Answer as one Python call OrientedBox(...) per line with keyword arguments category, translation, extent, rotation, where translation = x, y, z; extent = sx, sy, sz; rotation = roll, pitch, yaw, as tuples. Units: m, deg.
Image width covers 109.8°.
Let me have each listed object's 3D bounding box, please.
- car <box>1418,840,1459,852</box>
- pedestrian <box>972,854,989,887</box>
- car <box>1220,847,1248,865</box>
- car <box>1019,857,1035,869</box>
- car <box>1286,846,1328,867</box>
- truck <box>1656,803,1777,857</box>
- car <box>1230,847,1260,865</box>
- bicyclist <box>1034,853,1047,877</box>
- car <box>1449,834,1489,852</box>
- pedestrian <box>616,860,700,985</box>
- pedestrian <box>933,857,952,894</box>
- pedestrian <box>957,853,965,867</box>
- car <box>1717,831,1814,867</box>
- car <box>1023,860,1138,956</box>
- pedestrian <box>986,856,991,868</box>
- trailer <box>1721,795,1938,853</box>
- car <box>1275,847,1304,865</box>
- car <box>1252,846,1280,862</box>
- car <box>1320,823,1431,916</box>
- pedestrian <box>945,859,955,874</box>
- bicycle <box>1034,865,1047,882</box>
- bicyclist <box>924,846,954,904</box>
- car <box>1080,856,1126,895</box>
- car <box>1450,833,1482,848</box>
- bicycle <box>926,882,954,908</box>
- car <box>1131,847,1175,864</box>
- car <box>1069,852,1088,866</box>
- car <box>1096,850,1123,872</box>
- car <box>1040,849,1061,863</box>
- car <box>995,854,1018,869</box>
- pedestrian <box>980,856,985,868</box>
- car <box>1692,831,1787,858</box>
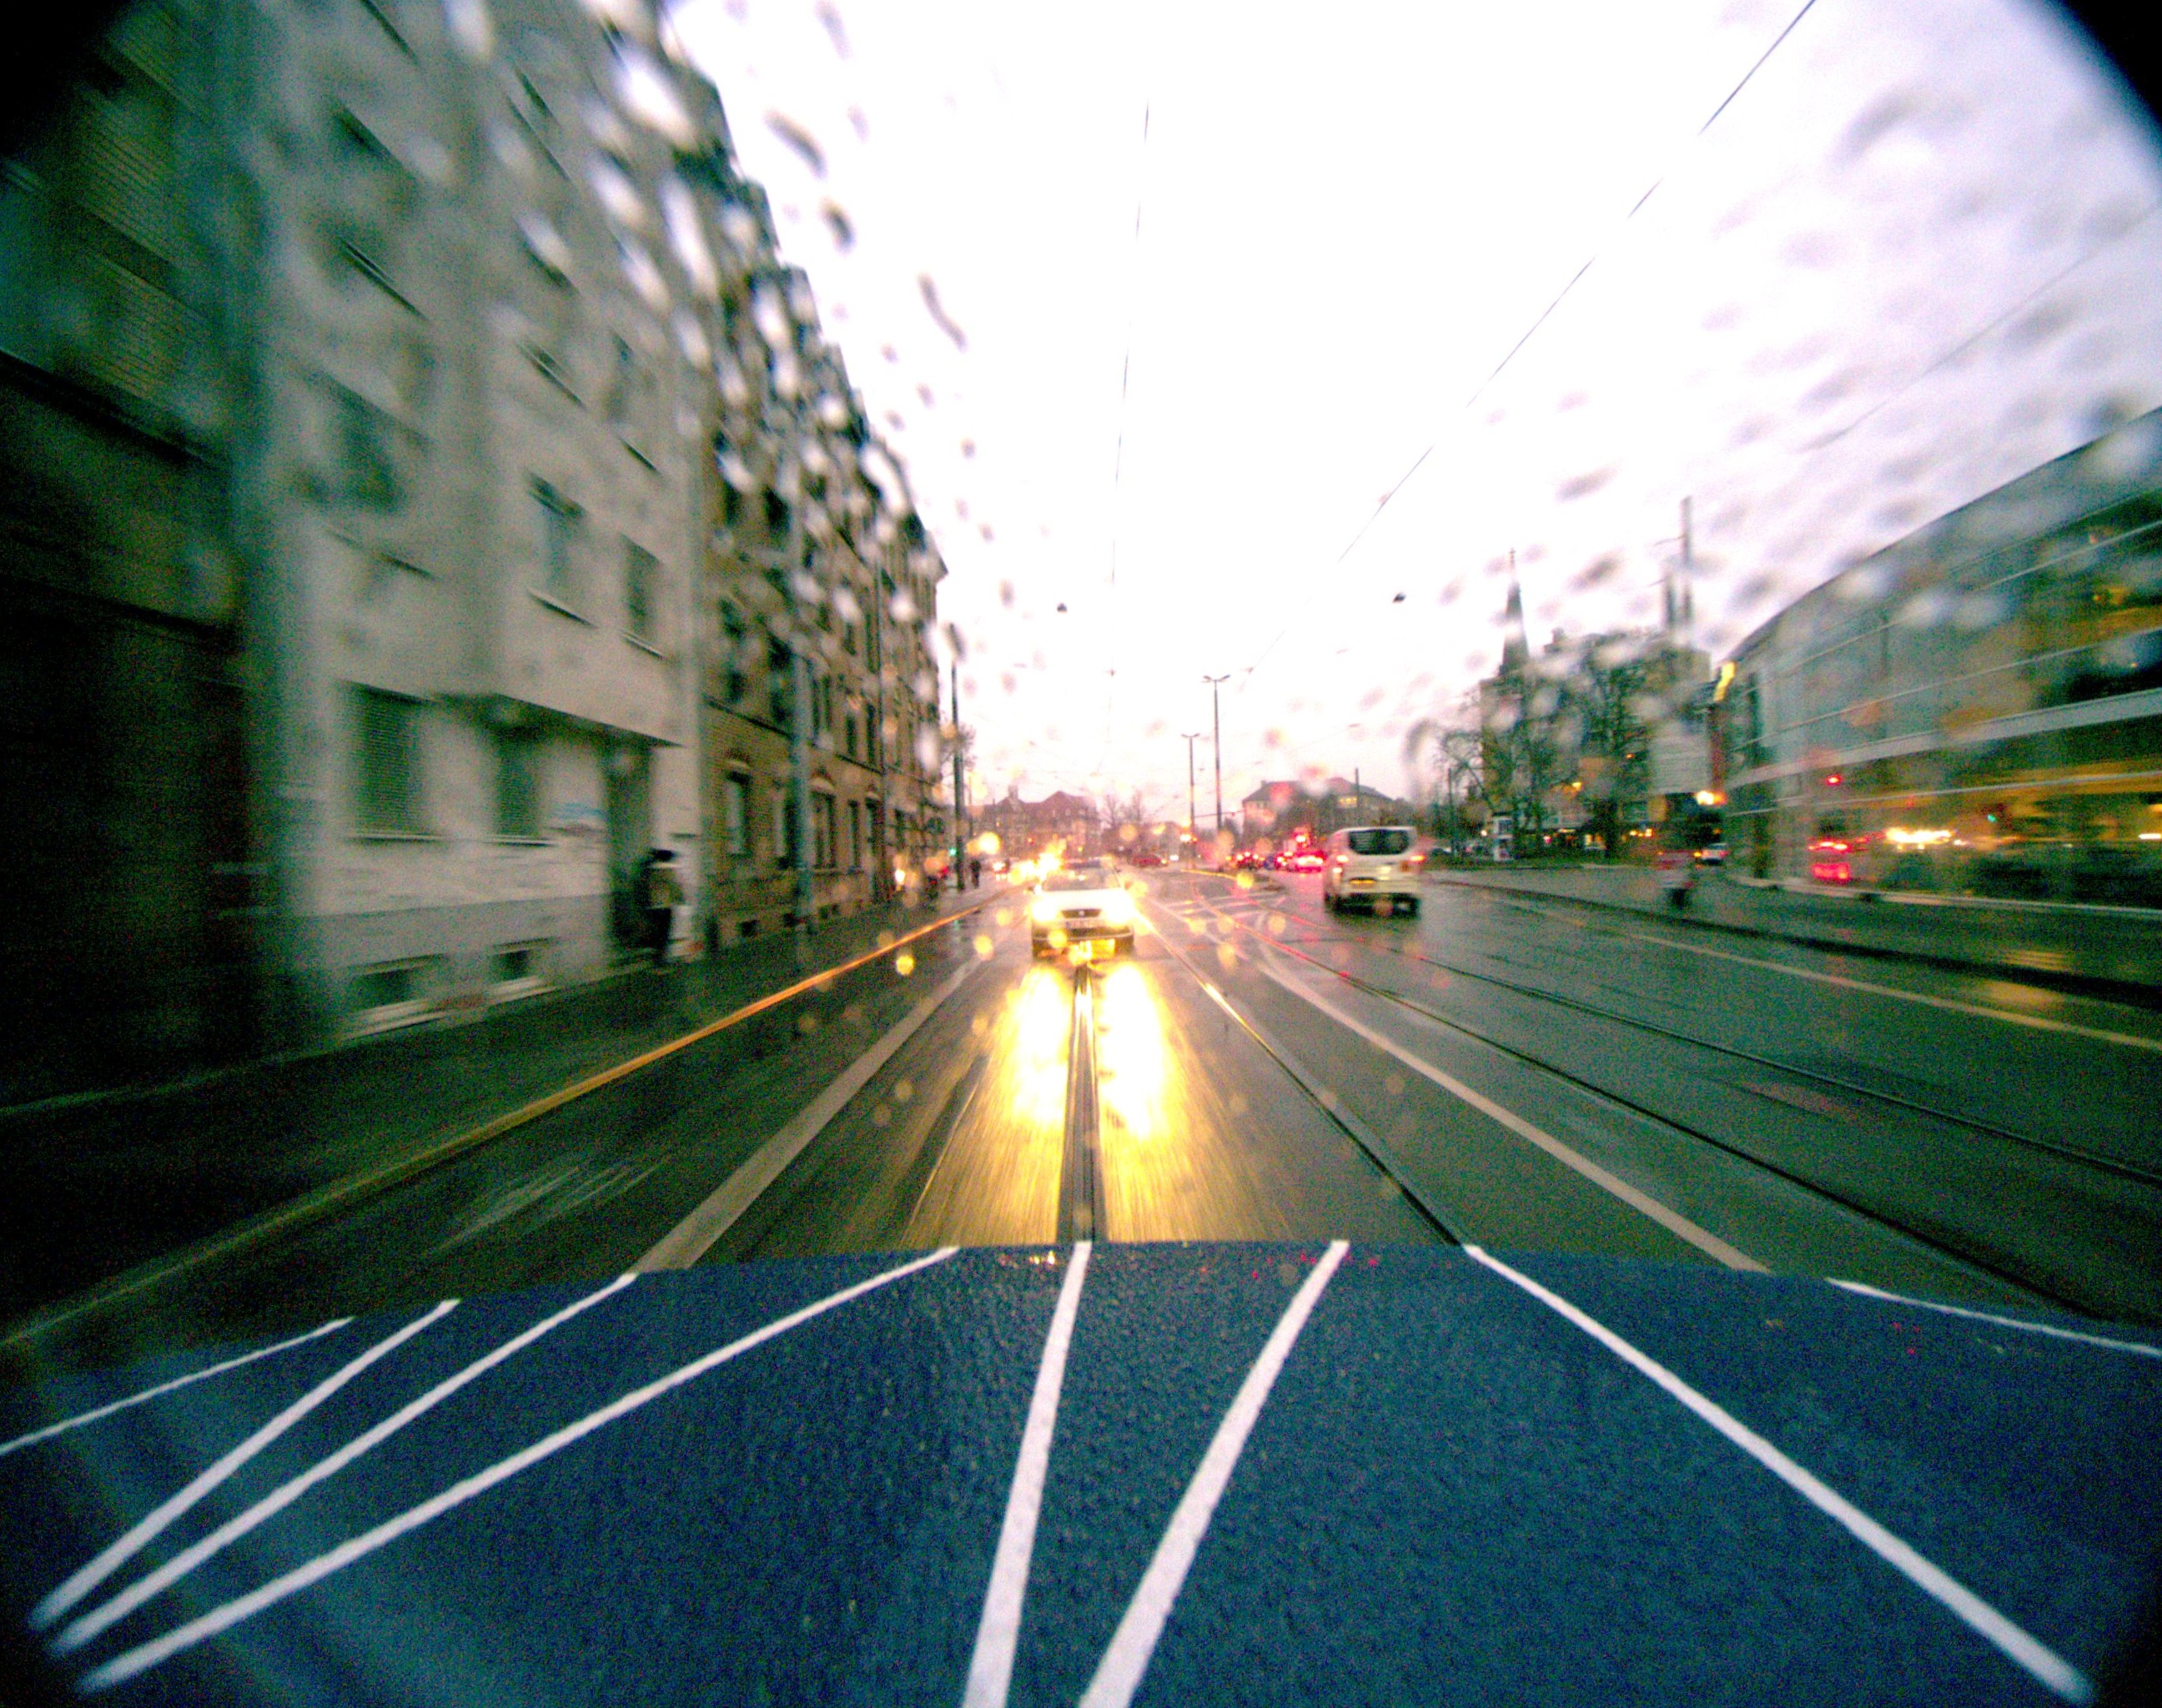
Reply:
OrientedBox(category="car", translation=(43.337, -0.960, 92.129), extent=(2.003, 1.302, 3.990), rotation=(-4, 1, -36))
OrientedBox(category="pedestrian", translation=(-5.671, 0.941, 42.802), extent=(0.753, 1.814, 0.711), rotation=(-2, 1, 3))
OrientedBox(category="car", translation=(14.026, 0.158, 69.772), extent=(1.904, 1.477, 4.000), rotation=(-2, 0, 2))
OrientedBox(category="car", translation=(-7.680, 1.268, 107.365), extent=(1.829, 1.499, 3.801), rotation=(-3, 0, -9))
OrientedBox(category="car", translation=(16.876, 0.165, 57.008), extent=(1.998, 1.413, 4.588), rotation=(-2, 0, 3))
OrientedBox(category="truck", translation=(44.406, -1.656, 53.141), extent=(6.756, 3.398, 2.655), rotation=(-3, 1, -9))
OrientedBox(category="car", translation=(13.530, 0.134, 62.800), extent=(1.876, 1.382, 4.001), rotation=(0, 1, 3))
OrientedBox(category="bicyclist", translation=(-2.630, 0.707, 49.014), extent=(0.727, 1.525, 0.785), rotation=(-3, 1, 0))
OrientedBox(category="car", translation=(49.191, -1.393, 96.274), extent=(2.003, 2.002, 3.990), rotation=(-4, 1, -36))
OrientedBox(category="pedestrian", translation=(-6.118, 0.968, 11.018), extent=(0.777, 1.734, 0.673), rotation=(-2, 1, 1))
OrientedBox(category="pedestrian", translation=(-5.851, 0.900, 32.125), extent=(0.633, 1.539, 0.710), rotation=(-3, 1, -2))
OrientedBox(category="pedestrian", translation=(-14.597, 0.748, 92.464), extent=(0.710, 1.610, 0.747), rotation=(-3, 1, -33))
OrientedBox(category="car", translation=(30.740, -0.237, 34.102), extent=(4.299, 1.391, 1.739), rotation=(-3, 1, -26))
OrientedBox(category="car", translation=(0.063, 0.894, 14.249), extent=(1.797, 1.415, 4.000), rotation=(-2, 0, 2))
OrientedBox(category="pedestrian", translation=(-14.161, 1.198, 116.259), extent=(0.638, 1.752, 0.510), rotation=(-3, 1, -12))
OrientedBox(category="trailer", translation=(53.841, -2.157, 54.654), extent=(15.057, 3.398, 2.634), rotation=(-3, 1, -9))
OrientedBox(category="car", translation=(17.510, 0.144, 63.881), extent=(1.604, 1.410, 3.472), rotation=(-2, 0, 3))
OrientedBox(category="car", translation=(17.438, -0.018, 71.678), extent=(1.728, 1.350, 4.000), rotation=(-2, 0, 2))
OrientedBox(category="car", translation=(7.299, 0.313, 19.296), extent=(1.996, 2.002, 4.689), rotation=(-3, 1, 14))
OrientedBox(category="pedestrian", translation=(-14.692, 1.410, 85.132), extent=(0.821, 1.610, 0.747), rotation=(-3, 1, -32))
OrientedBox(category="bicycle", translation=(-2.602, 1.233, 49.059), extent=(0.725, 0.985, 2.212), rotation=(-3, 0, 0))
OrientedBox(category="bicyclist", translation=(-4.747, 0.694, 25.510), extent=(0.747, 1.869, 1.111), rotation=(-2, 1, -2))
OrientedBox(category="car", translation=(0.960, 0.867, 32.378), extent=(1.797, 1.415, 4.000), rotation=(-2, 0, 2))
OrientedBox(category="car", translation=(55.507, -1.944, 109.608), extent=(3.990, 2.002, 2.003), rotation=(-3, 1, 26))
OrientedBox(category="bicycle", translation=(-4.708, 1.362, 25.484), extent=(0.609, 0.757, 1.860), rotation=(-2, 1, -1))
OrientedBox(category="car", translation=(9.584, 0.242, 101.841), extent=(5.538, 2.002, 2.003), rotation=(-2, 1, 34))
OrientedBox(category="car", translation=(-0.373, 0.716, 112.876), extent=(1.826, 1.922, 3.995), rotation=(-3, 0, -15))
OrientedBox(category="car", translation=(2.168, 0.486, 59.053), extent=(1.824, 1.565, 3.999), rotation=(-3, 0, -1))
OrientedBox(category="car", translation=(-4.332, 0.338, 106.596), extent=(2.021, 1.809, 3.683), rotation=(-3, 1, -16))
OrientedBox(category="car", translation=(-9.799, 0.990, 99.976), extent=(1.998, 1.827, 4.872), rotation=(-2, 0, 6))
OrientedBox(category="pedestrian", translation=(-15.031, 1.245, 116.073), extent=(0.638, 1.752, 0.510), rotation=(-3, 1, -12))
OrientedBox(category="car", translation=(41.648, -0.581, 48.079), extent=(4.811, 1.489, 1.998), rotation=(-3, 1, -11))
